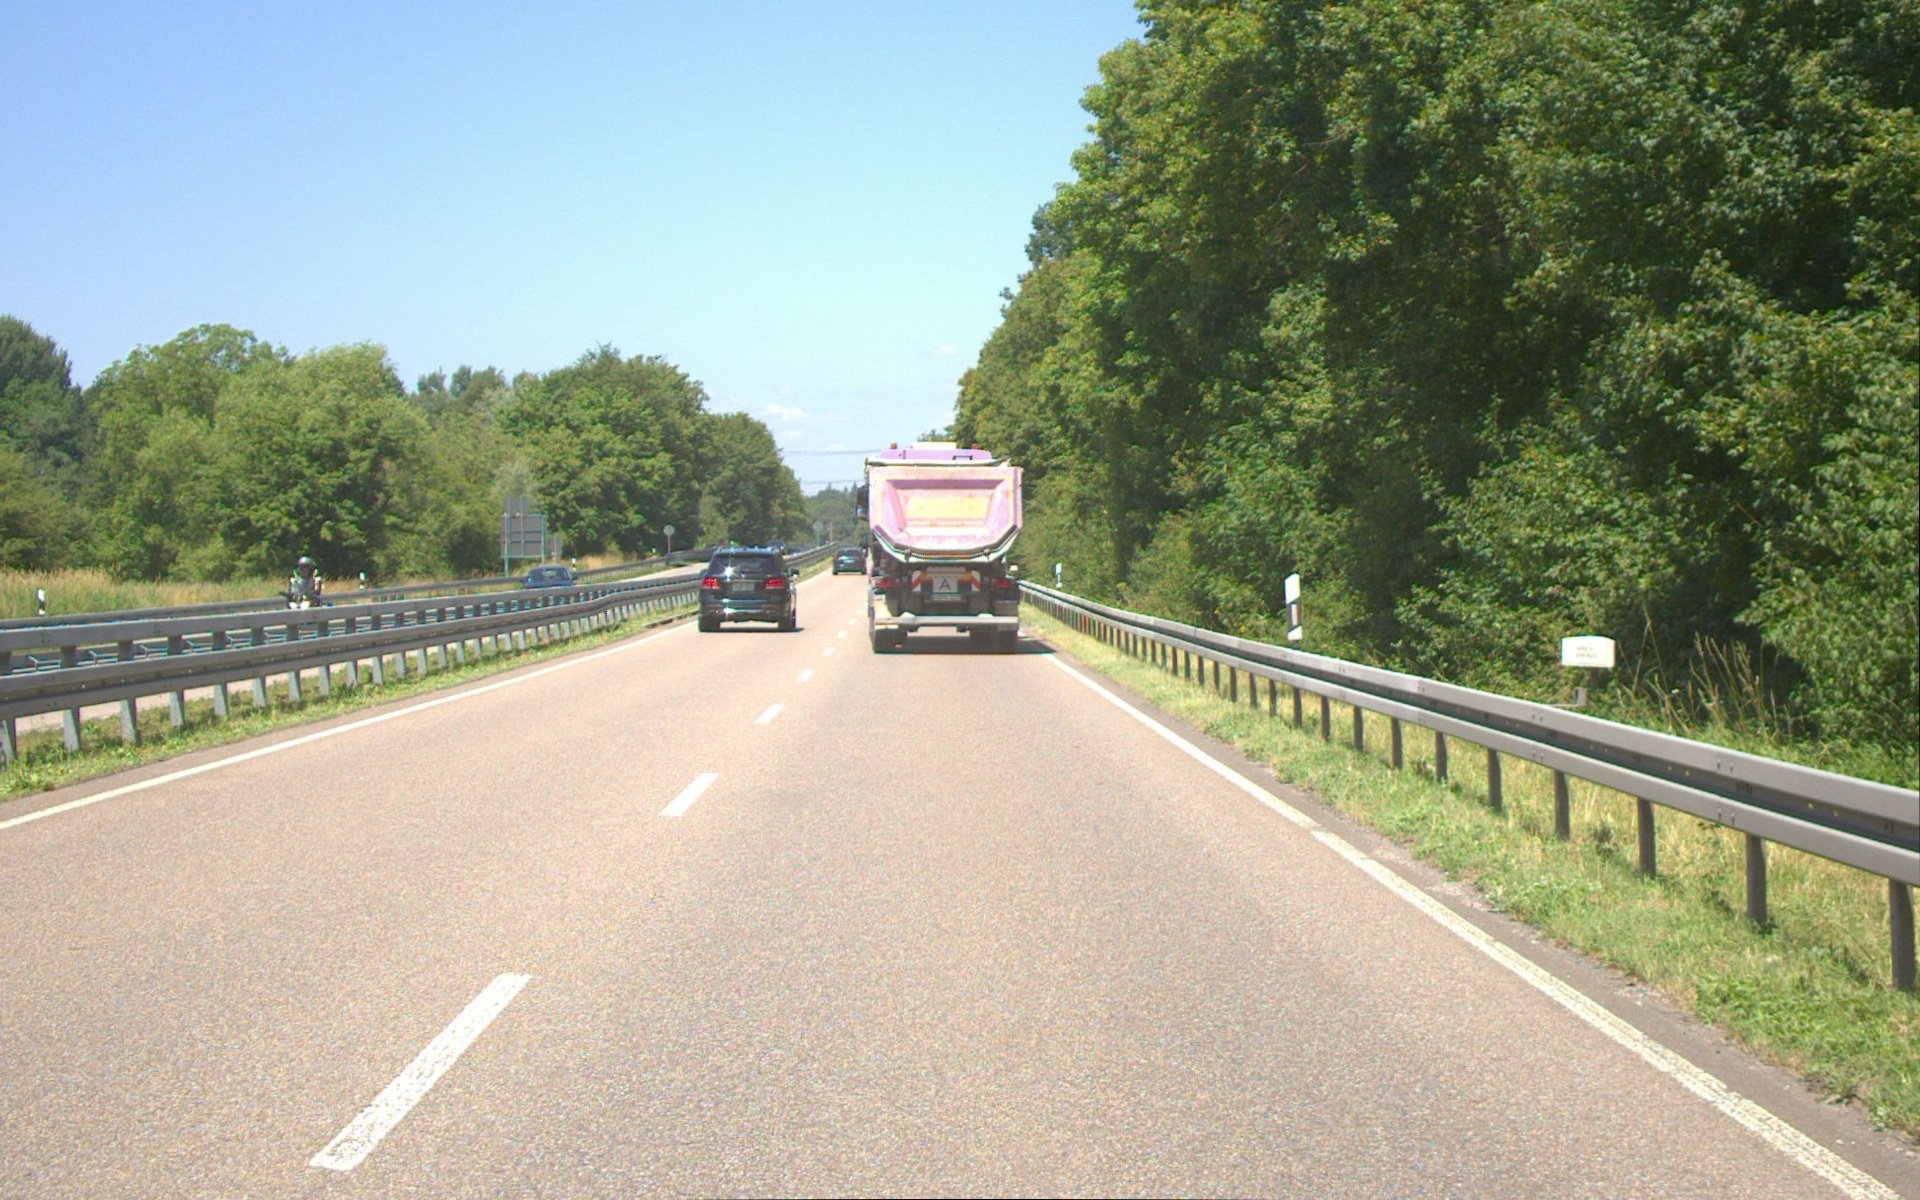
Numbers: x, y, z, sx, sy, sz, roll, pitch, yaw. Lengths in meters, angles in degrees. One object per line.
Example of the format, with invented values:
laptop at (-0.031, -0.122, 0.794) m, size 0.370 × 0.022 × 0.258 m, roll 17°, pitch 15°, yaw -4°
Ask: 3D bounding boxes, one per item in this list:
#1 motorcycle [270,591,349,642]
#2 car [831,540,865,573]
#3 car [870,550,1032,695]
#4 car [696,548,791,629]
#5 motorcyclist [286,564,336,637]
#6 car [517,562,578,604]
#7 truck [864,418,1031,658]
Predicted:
motorcycle at (-14.599, 0.357, 77.231) m, size 1.063 × 1.061 × 3.818 m, roll -2°, pitch 1°, yaw -1°
car at (-6.068, -2.369, 186.531) m, size 1.857 × 1.712 × 4.000 m, roll 0°, pitch 0°, yaw -2°
car at (-0.159, 0.276, 41.834) m, size 1.857 × 1.665 × 4.000 m, roll 0°, pitch 0°, yaw -2°
car at (-4.559, -0.226, 72.778) m, size 1.857 × 1.665 × 4.000 m, roll 0°, pitch 0°, yaw -2°
motorcyclist at (-14.564, 0.006, 77.184) m, size 0.945 × 1.611 × 0.809 m, roll -2°, pitch 1°, yaw -2°
car at (-13.430, -0.566, 112.092) m, size 1.628 × 1.327 × 3.535 m, roll 0°, pitch 1°, yaw -1°
truck at (-0.372, -1.140, 62.196) m, size 2.720 × 3.916 × 12.371 m, roll 0°, pitch 1°, yaw -2°
